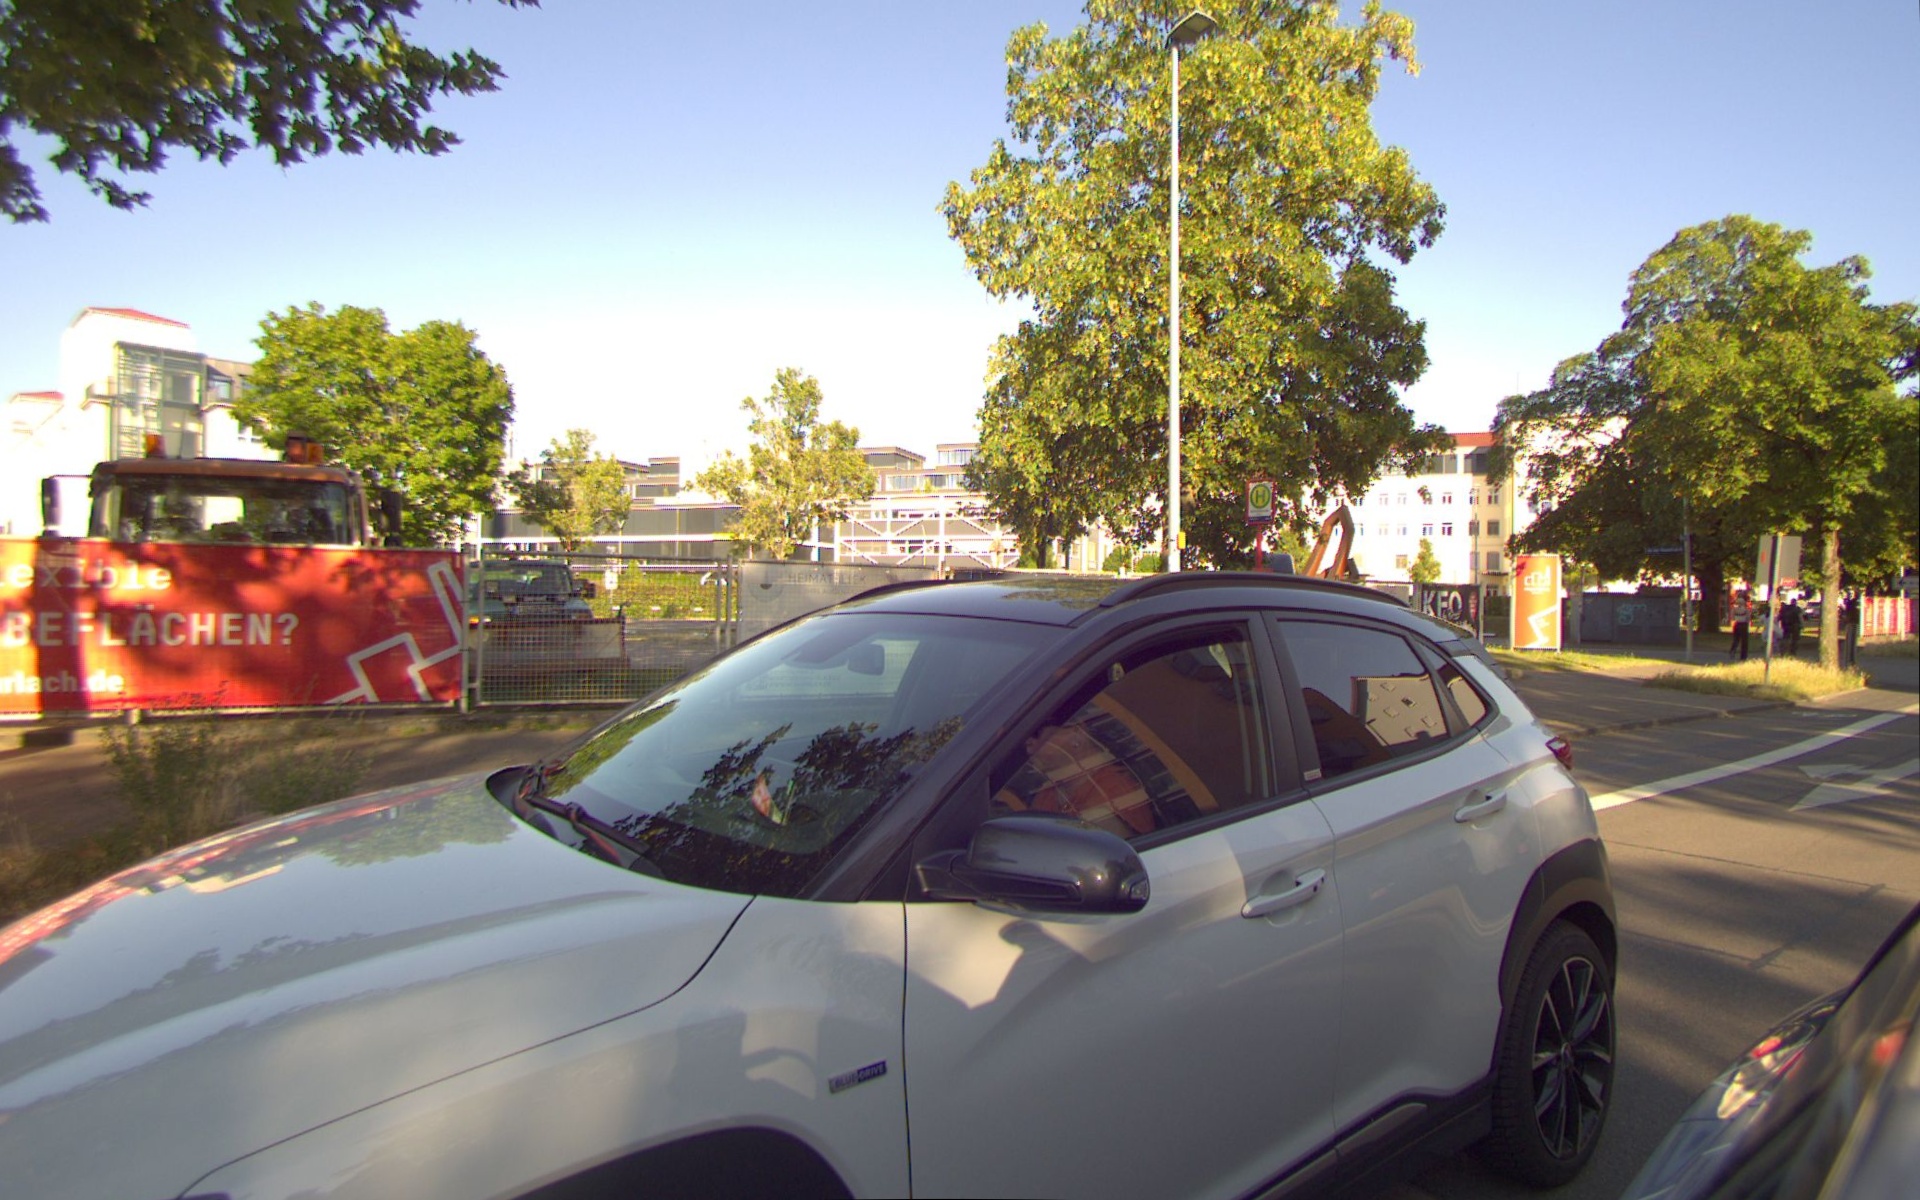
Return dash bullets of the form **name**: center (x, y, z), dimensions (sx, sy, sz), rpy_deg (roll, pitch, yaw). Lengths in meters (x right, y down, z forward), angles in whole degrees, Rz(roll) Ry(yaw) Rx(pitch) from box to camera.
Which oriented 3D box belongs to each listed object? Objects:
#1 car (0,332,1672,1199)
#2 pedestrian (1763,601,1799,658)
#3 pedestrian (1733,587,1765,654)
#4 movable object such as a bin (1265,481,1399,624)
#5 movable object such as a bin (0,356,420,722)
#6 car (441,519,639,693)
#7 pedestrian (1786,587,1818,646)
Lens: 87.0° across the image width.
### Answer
- **car**: center (-0.019, 0.673, 2.466), dimensions (3.893, 1.618, 1.894), rpy_deg (3, -2, -39)
- **pedestrian**: center (21.391, 0.748, 26.372), dimensions (0.627, 1.452, 0.609), rpy_deg (0, 0, -40)
- **pedestrian**: center (21.354, 0.542, 27.386), dimensions (0.607, 1.759, 0.629), rpy_deg (0, 0, 44)
- **movable object such as a bin**: center (15.520, -1.882, 42.763), dimensions (3.910, 5.547, 6.022), rpy_deg (0, 0, 6)
- **movable object such as a bin**: center (-8.394, -0.548, 12.056), dimensions (3.154, 3.087, 6.295), rpy_deg (0, 0, -31)
- **car**: center (-5.670, 0.044, 13.295), dimensions (2.001, 1.851, 4.612), rpy_deg (0, 0, -28)
- **pedestrian**: center (24.665, 0.480, 29.661), dimensions (0.692, 1.689, 0.630), rpy_deg (0, 0, 38)
